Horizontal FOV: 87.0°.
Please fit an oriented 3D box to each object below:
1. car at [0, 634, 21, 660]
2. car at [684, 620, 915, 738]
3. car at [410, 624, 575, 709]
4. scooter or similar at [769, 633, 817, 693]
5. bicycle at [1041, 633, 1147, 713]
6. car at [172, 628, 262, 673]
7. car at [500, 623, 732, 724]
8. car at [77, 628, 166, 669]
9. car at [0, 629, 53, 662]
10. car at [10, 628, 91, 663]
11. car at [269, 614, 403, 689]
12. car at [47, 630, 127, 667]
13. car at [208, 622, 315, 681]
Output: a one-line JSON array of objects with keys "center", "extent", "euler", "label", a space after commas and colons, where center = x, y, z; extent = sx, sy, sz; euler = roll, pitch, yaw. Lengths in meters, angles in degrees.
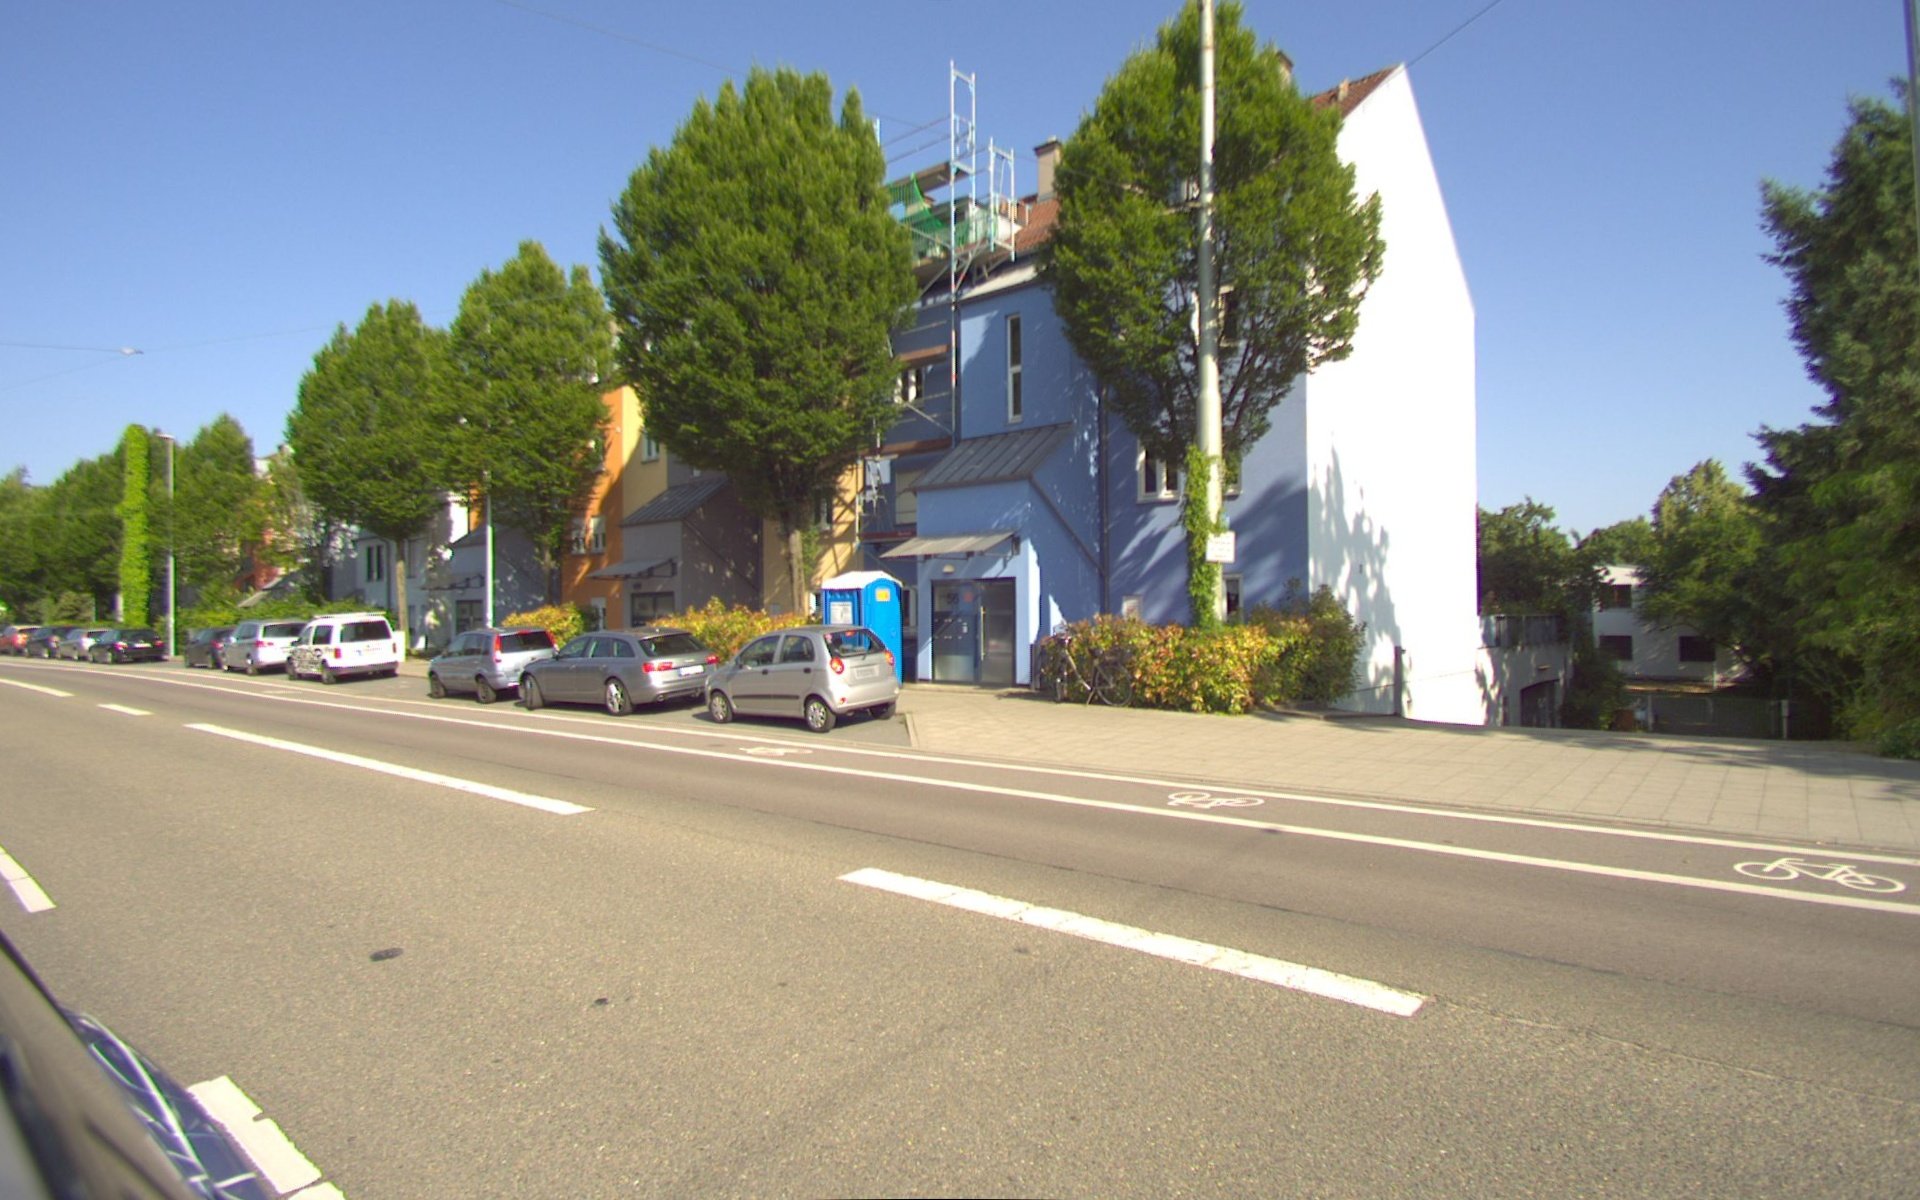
[{"center": [-54.125, 2.619, 56.381], "extent": [4.699, 1.435, 1.639], "euler": [-2, -2, 34], "label": "car"}, {"center": [-2.570, 1.149, 15.837], "extent": [3.506, 1.505, 1.585], "euler": [-1, 3, 40], "label": "car"}, {"center": [-10.361, 1.397, 22.321], "extent": [3.979, 1.550, 1.745], "euler": [-1, 3, 41], "label": "car"}, {"center": [-3.319, 1.234, 20.131], "extent": [1.041, 1.162, 0.291], "euler": [-2, -2, 36], "label": "scooter or similar"}, {"center": [2.081, 1.116, 15.877], "extent": [0.438, 1.163, 1.786], "euler": [1, -1, -43], "label": "bicycle"}, {"center": [-26.842, 1.783, 36.518], "extent": [4.053, 1.477, 1.600], "euler": [-1, 0, 38], "label": "car"}, {"center": [-6.532, 1.288, 18.965], "extent": [4.749, 1.522, 1.733], "euler": [-2, 3, 38], "label": "car"}, {"center": [-35.914, 2.043, 43.310], "extent": [4.901, 1.556, 1.849], "euler": [-1, 1, 37], "label": "car"}, {"center": [-49.699, 2.379, 53.429], "extent": [4.150, 1.586, 1.748], "euler": [-1, -1, 34], "label": "car"}, {"center": [-44.933, 2.224, 49.996], "extent": [4.420, 1.586, 1.750], "euler": [-1, 0, 31], "label": "car"}, {"center": [-17.966, 1.428, 29.052], "extent": [4.575, 1.859, 1.746], "euler": [-2, 3, 39], "label": "car"}, {"center": [-40.532, 2.219, 46.942], "extent": [4.833, 1.482, 1.698], "euler": [0, 1, 35], "label": "car"}, {"center": [-22.779, 1.631, 32.920], "extent": [4.821, 1.713, 1.651], "euler": [-1, 1, 41], "label": "car"}]
